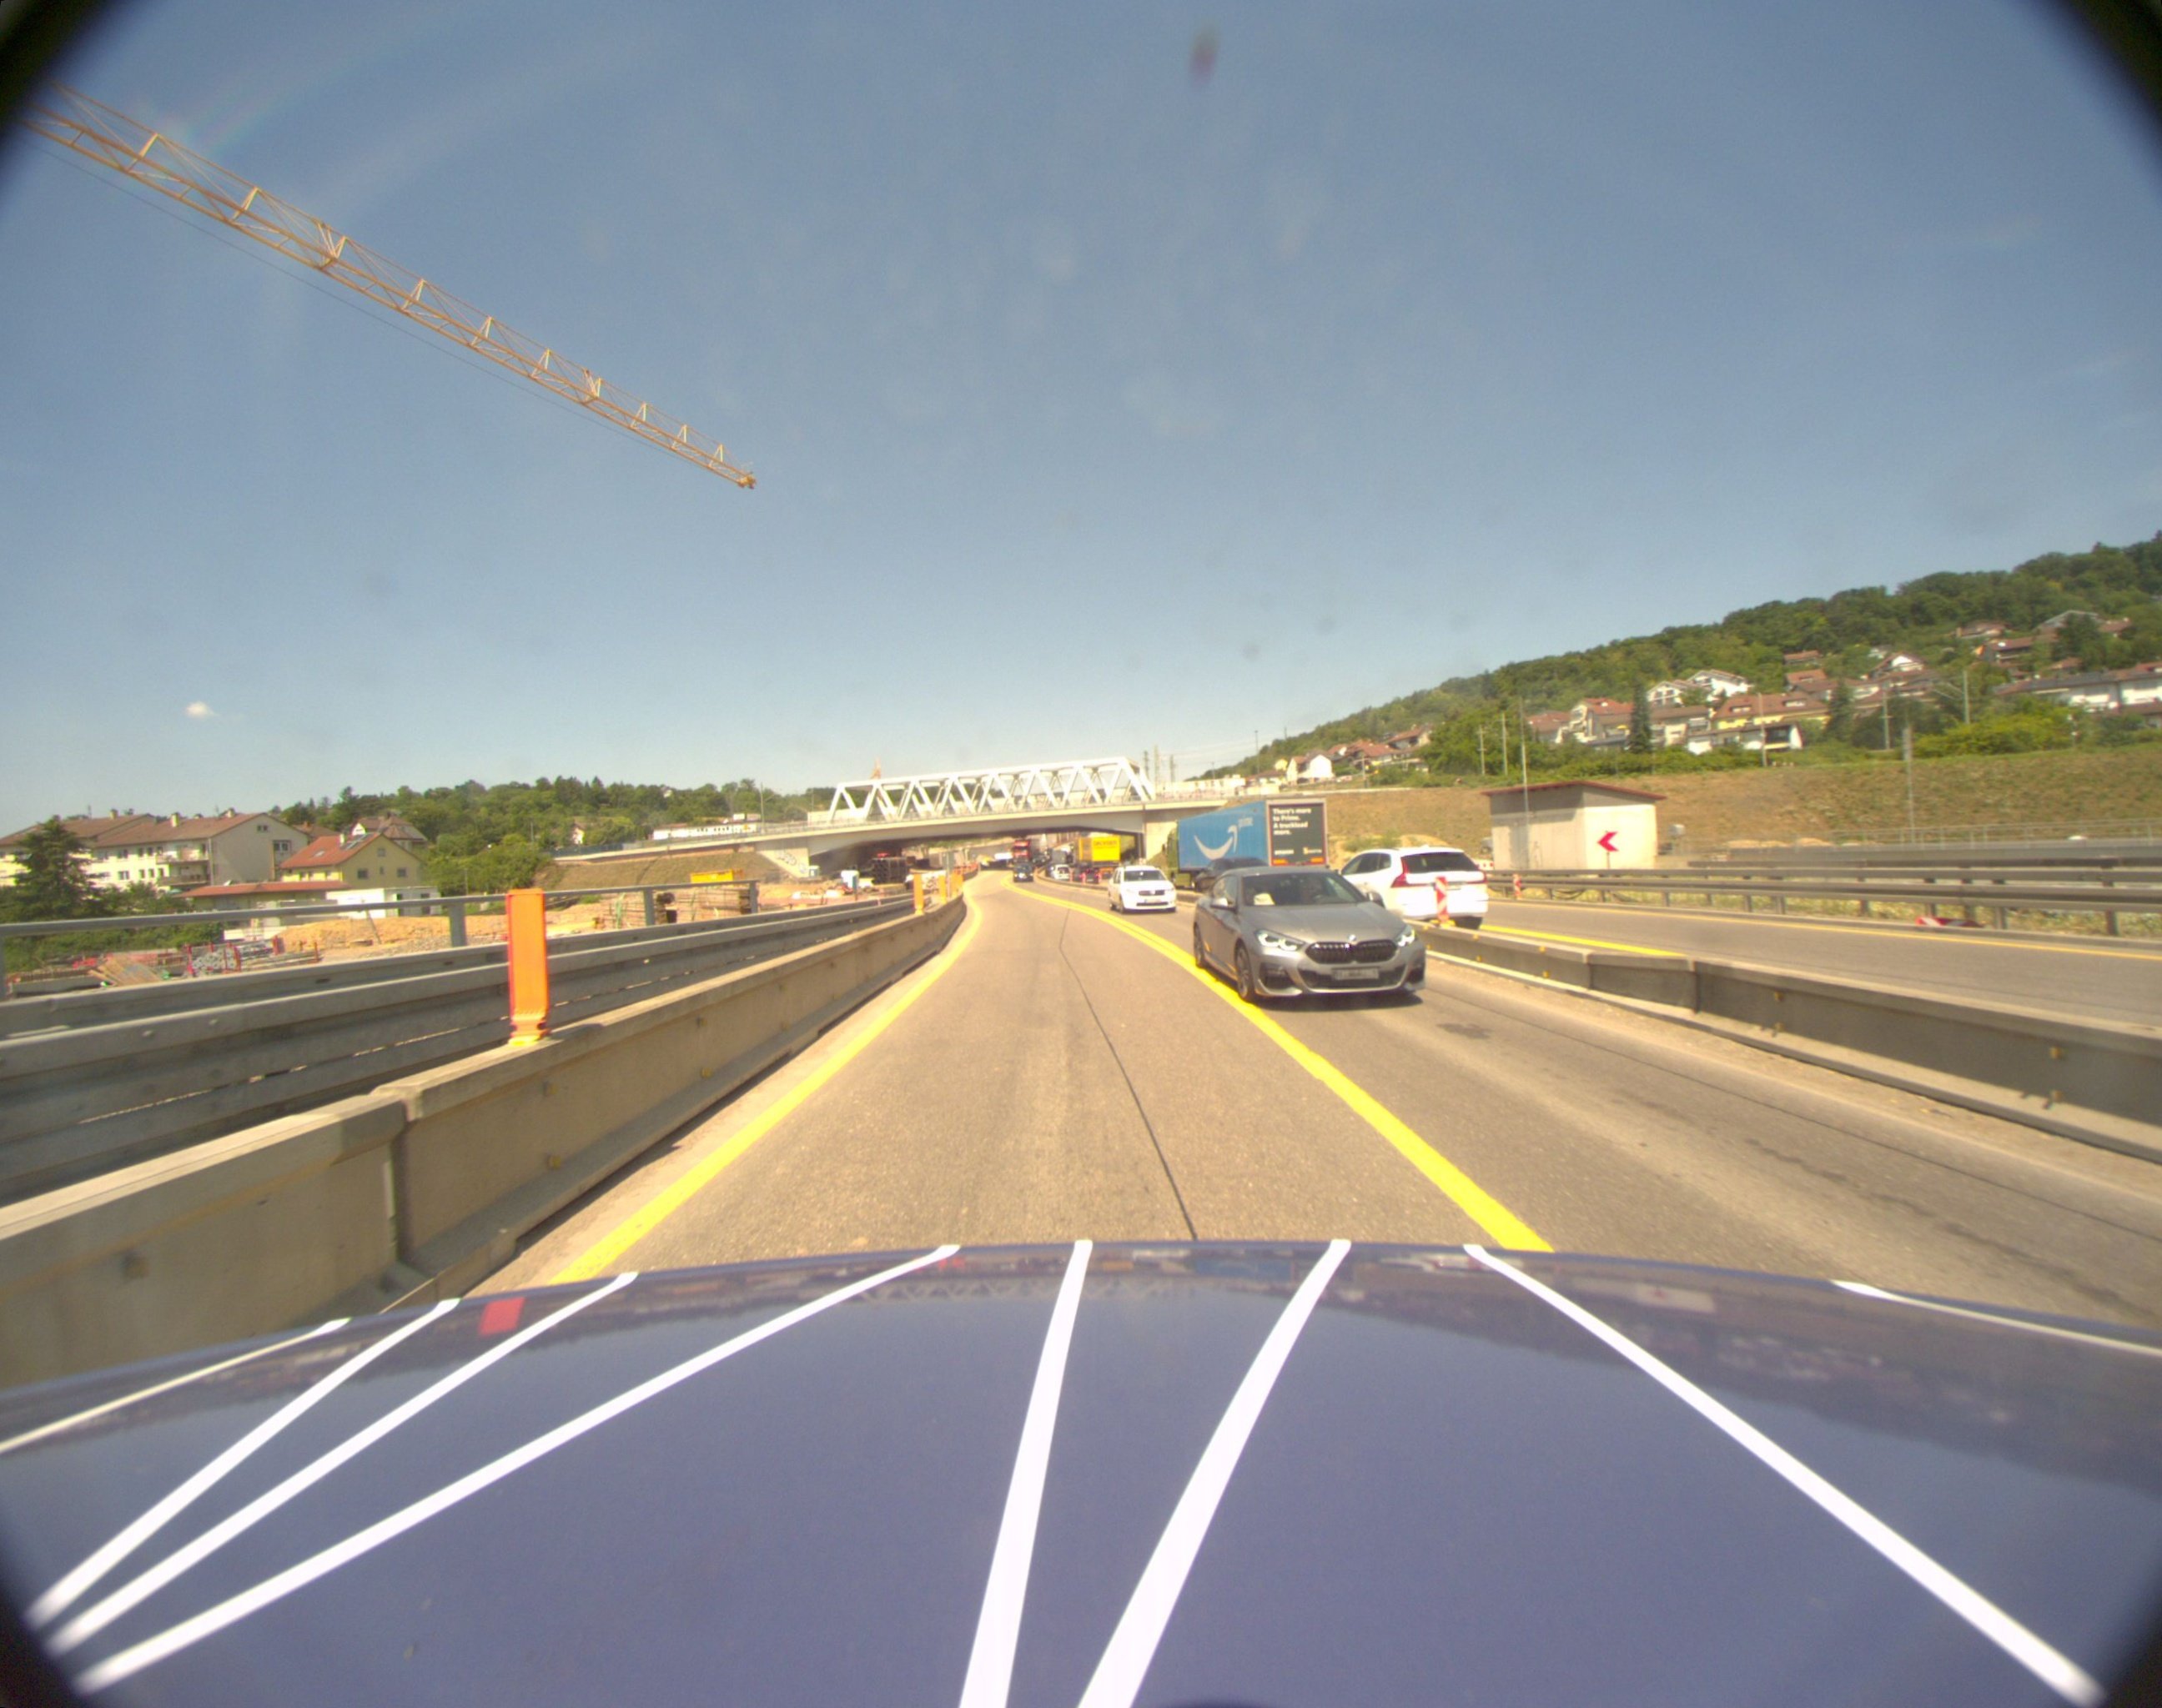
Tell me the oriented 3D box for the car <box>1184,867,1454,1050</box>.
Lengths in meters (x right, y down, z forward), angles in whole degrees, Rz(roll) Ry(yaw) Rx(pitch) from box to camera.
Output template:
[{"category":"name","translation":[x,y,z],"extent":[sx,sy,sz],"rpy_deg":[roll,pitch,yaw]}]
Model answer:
[{"category":"car","translation":[2.515,1.006,9.265],"extent":[1.838,1.587,4.389],"rpy_deg":[-3,-1,0]}]

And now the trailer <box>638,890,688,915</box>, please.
[{"category":"trailer","translation":[-32.251,3.710,58.719],"extent":[1.628,1.477,3.825],"rpy_deg":[-4,1,0]}]

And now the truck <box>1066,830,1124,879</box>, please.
[{"category":"truck","translation":[1.178,0.110,77.846],"extent":[2.816,4.317,15.362],"rpy_deg":[-3,0,-10]}]

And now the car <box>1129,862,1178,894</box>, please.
[{"category":"car","translation":[3.887,1.282,41.256],"extent":[1.825,1.575,4.300],"rpy_deg":[-3,-1,-5]}]

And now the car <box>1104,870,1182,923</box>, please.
[{"category":"car","translation":[1.956,1.340,25.314],"extent":[1.839,1.465,4.387],"rpy_deg":[-3,0,-4]}]

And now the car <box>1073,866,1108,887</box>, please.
[{"category":"car","translation":[0.675,1.695,57.909],"extent":[1.826,1.426,4.581],"rpy_deg":[-3,-1,-9]}]

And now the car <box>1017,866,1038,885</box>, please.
[{"category":"car","translation":[-5.145,2.010,72.187],"extent":[1.802,1.543,3.997],"rpy_deg":[-3,1,-6]}]

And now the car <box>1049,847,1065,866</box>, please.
[{"category":"car","translation":[-3.359,0.313,107.632],"extent":[2.076,2.489,6.481],"rpy_deg":[-3,2,-1]}]

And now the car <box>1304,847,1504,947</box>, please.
[{"category":"car","translation":[6.300,0.852,15.499],"extent":[1.825,1.637,4.571],"rpy_deg":[-3,-2,-4]}]

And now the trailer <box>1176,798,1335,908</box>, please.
[{"category":"trailer","translation":[7.858,-0.002,37.179],"extent":[2.656,4.267,13.299],"rpy_deg":[-4,0,-8]}]

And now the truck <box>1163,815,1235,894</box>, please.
[{"category":"truck","translation":[6.850,0.055,44.738],"extent":[2.633,4.245,4.728],"rpy_deg":[-4,0,-8]}]

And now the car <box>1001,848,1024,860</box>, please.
[{"category":"car","translation":[-19.382,-0.028,215.097],"extent":[6.307,2.567,2.053],"rpy_deg":[-6,1,-10]}]

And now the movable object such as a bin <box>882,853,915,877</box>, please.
[{"category":"movable object such as a bin","translation":[-28.896,1.726,120.539],"extent":[3.887,3.523,2.904],"rpy_deg":[-3,3,14]}]

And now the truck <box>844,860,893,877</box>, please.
[{"category":"truck","translation":[-32.327,2.142,115.764],"extent":[6.534,2.061,2.666],"rpy_deg":[-4,2,6]}]

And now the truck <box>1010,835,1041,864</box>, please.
[{"category":"truck","translation":[-8.888,-0.783,123.409],"extent":[3.462,4.025,10.207],"rpy_deg":[-2,3,4]}]

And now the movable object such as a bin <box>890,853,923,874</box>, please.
[{"category":"movable object such as a bin","translation":[-30.253,1.661,131.992],"extent":[4.562,3.269,2.990],"rpy_deg":[-4,3,7]}]

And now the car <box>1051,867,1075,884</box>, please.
[{"category":"car","translation":[-1.701,1.965,70.065],"extent":[1.642,1.476,3.998],"rpy_deg":[-2,-2,-10]}]

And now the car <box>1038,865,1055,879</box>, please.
[{"category":"car","translation":[-3.693,1.894,82.191],"extent":[1.681,1.354,4.502],"rpy_deg":[-3,0,-1]}]

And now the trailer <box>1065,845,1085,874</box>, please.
[{"category":"trailer","translation":[-0.850,0.645,109.434],"extent":[2.532,3.767,10.242],"rpy_deg":[-4,1,-1]}]

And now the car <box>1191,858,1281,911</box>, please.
[{"category":"car","translation":[5.397,0.998,27.161],"extent":[1.886,1.637,4.713],"rpy_deg":[-3,0,-4]}]

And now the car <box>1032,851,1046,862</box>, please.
[{"category":"car","translation":[-6.381,0.394,115.457],"extent":[1.801,1.543,3.999],"rpy_deg":[-3,1,-1]}]
